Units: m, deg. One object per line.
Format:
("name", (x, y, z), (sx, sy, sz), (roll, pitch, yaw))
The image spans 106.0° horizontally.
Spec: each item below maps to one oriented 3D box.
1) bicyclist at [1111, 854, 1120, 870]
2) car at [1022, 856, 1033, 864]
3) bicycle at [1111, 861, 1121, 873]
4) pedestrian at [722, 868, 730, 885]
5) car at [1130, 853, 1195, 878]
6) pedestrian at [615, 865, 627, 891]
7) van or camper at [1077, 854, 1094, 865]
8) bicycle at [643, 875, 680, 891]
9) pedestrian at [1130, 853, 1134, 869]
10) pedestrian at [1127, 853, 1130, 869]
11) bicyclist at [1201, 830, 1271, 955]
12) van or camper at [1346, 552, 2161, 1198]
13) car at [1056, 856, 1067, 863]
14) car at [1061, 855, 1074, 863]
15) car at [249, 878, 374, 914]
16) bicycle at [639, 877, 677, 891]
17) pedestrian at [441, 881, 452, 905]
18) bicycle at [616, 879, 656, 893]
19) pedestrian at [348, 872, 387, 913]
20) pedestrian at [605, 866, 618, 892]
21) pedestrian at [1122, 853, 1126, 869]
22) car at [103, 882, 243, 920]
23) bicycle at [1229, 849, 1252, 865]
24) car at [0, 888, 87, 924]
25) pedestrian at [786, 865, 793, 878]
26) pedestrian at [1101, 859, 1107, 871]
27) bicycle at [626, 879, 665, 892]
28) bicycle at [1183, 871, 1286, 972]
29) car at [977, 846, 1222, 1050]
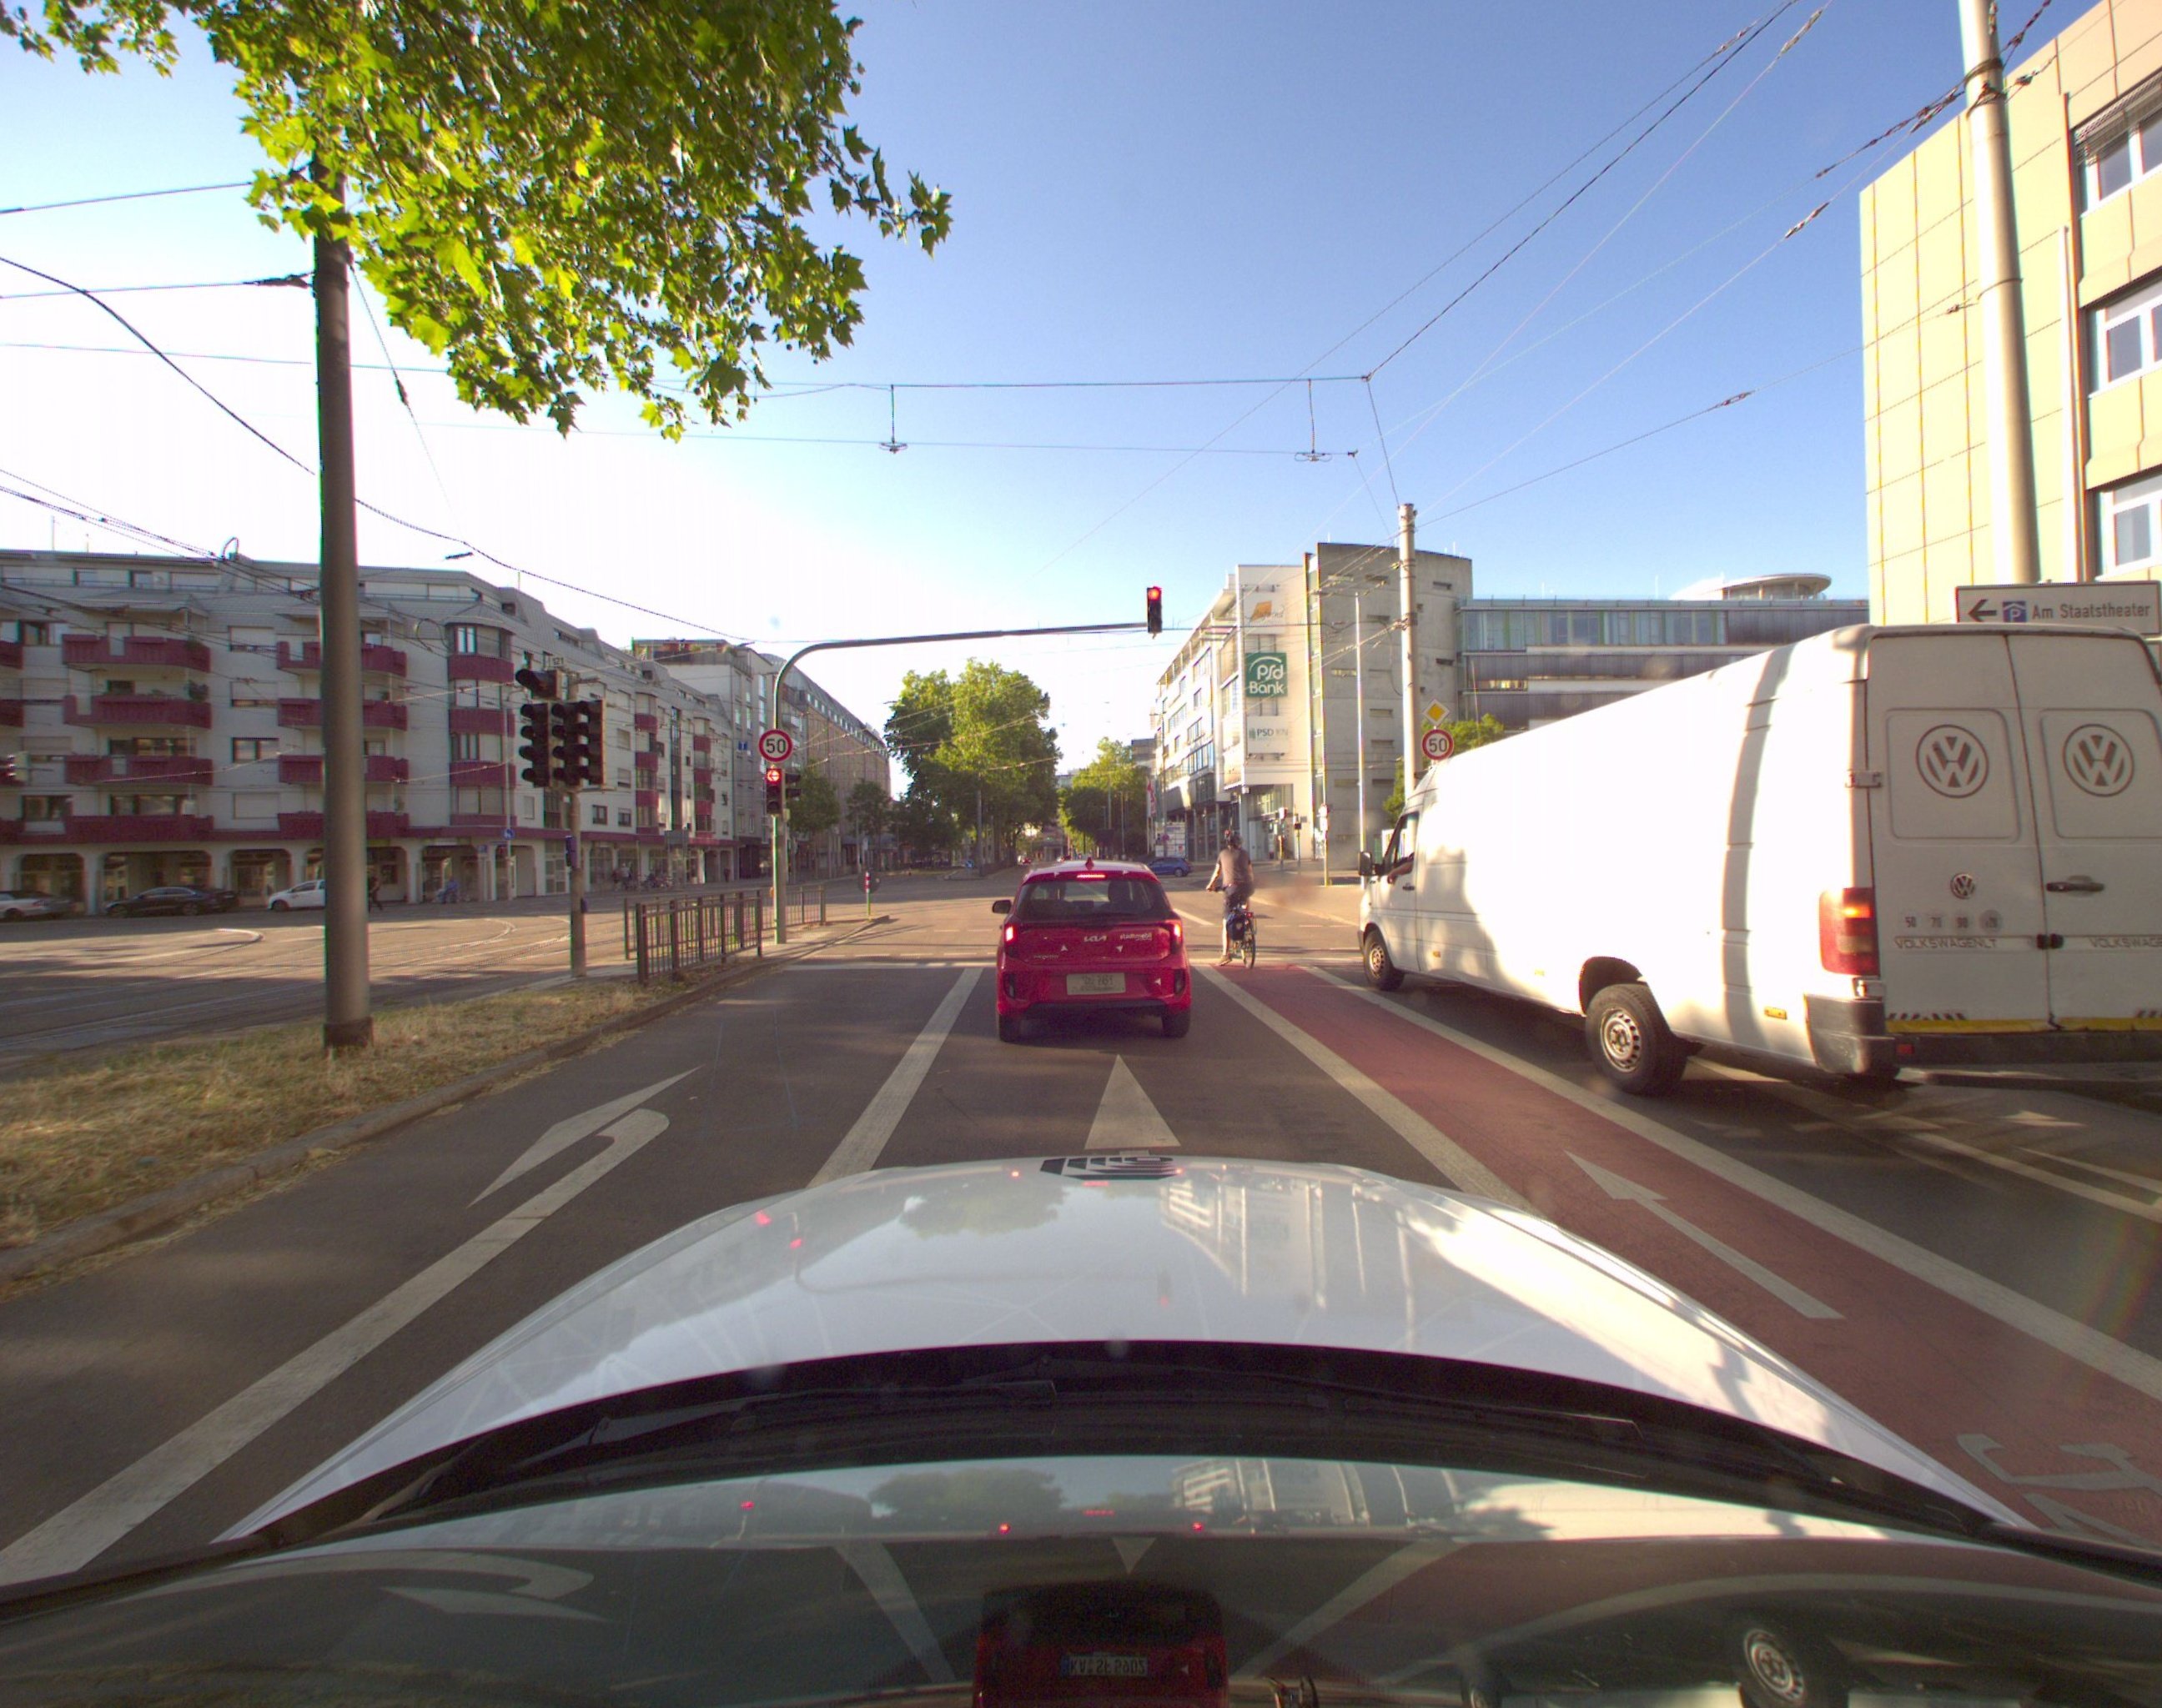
("bicyclist", (3.621, 0.809, 85.278), (0.781, 1.635, 0.640), (-2, 0, 8))
("car", (-11.736, 1.356, 177.044), (2.056, 1.654, 3.482), (-2, 0, -8))
("bicycle", (3.644, 1.329, 85.242), (0.788, 1.161, 2.505), (-2, 0, 7))
("pedestrian", (-30.970, 1.925, 71.018), (0.510, 1.459, 0.526), (-2, 0, -11))
("car", (5.796, 0.797, 57.606), (4.225, 1.568, 1.858), (-2, 0, 18))
("pedestrian", (-30.603, 1.606, 54.186), (0.509, 1.699, 0.527), (-2, 0, -5))
("van or camper", (0.730, 0.896, 133.567), (2.143, 1.750, 4.422), (-2, 0, -6))
("bicycle", (-28.139, 1.925, 54.629), (2.167, 0.951, 0.491), (-2, 0, -7))
("pedestrian", (5.180, 0.693, 82.547), (0.293, 1.562, 0.314), (-2, 0, -3))
("pedestrian", (4.799, 0.697, 82.466), (0.293, 1.562, 0.356), (-2, 0, -1))
("bicyclist", (2.127, 0.511, 11.253), (0.743, 1.669, 0.742), (0, 0, -10))
("van or camper", (4.451, 0.099, 6.680), (2.263, 2.733, 6.341), (1, 0, -2))
("car", (-4.387, 1.169, 181.791), (1.883, 1.528, 4.422), (-2, 0, -6))
("car", (-2.768, 1.080, 167.823), (2.474, 1.528, 4.424), (-2, 0, -5))
("car", (-37.388, 2.018, 39.692), (3.994, 1.464, 1.792), (-3, 0, -15))
("bicycle", (-28.055, 2.014, 53.990), (2.167, 0.824, 0.526), (-2, 0, -7))
("pedestrian", (-32.621, 1.997, 41.866), (0.303, 1.214, 0.317), (-2, 0, -9))
("bicycle", (-28.326, 2.024, 51.850), (2.167, 0.787, 0.639), (-2, 0, -7))
("pedestrian", (-29.744, 1.594, 33.947), (0.708, 1.662, 1.031), (-2, 0, -8))
("pedestrian", (-31.205, 1.642, 54.103), (0.509, 1.699, 0.527), (-2, 0, -5))
("pedestrian", (4.327, 0.702, 82.300), (0.293, 1.562, 0.302), (-2, 0, 3))
("car", (-42.576, 2.167, 38.297), (3.995, 1.464, 1.792), (-3, 0, -16))
("bicycle", (14.906, 0.301, 76.155), (1.931, 1.443, 0.574), (-2, 0, -5))
("car", (-48.602, 2.407, 36.886), (4.263, 1.464, 1.793), (-3, 0, -14))
("pedestrian", (-32.393, 1.956, 90.507), (0.509, 1.459, 0.527), (-2, 0, -5))
("pedestrian", (3.052, 1.482, 109.940), (0.740, 1.716, 0.748), (-2, 0, -1))
("bicycle", (-28.110, 2.025, 52.577), (2.167, 0.787, 0.491), (-2, 0, -7))
("bicycle", (2.088, 0.878, 11.424), (0.743, 1.224, 2.149), (0, 0, -9))
("car", (0.053, 0.708, 8.088), (1.835, 1.489, 3.712), (-2, 0, -3))
